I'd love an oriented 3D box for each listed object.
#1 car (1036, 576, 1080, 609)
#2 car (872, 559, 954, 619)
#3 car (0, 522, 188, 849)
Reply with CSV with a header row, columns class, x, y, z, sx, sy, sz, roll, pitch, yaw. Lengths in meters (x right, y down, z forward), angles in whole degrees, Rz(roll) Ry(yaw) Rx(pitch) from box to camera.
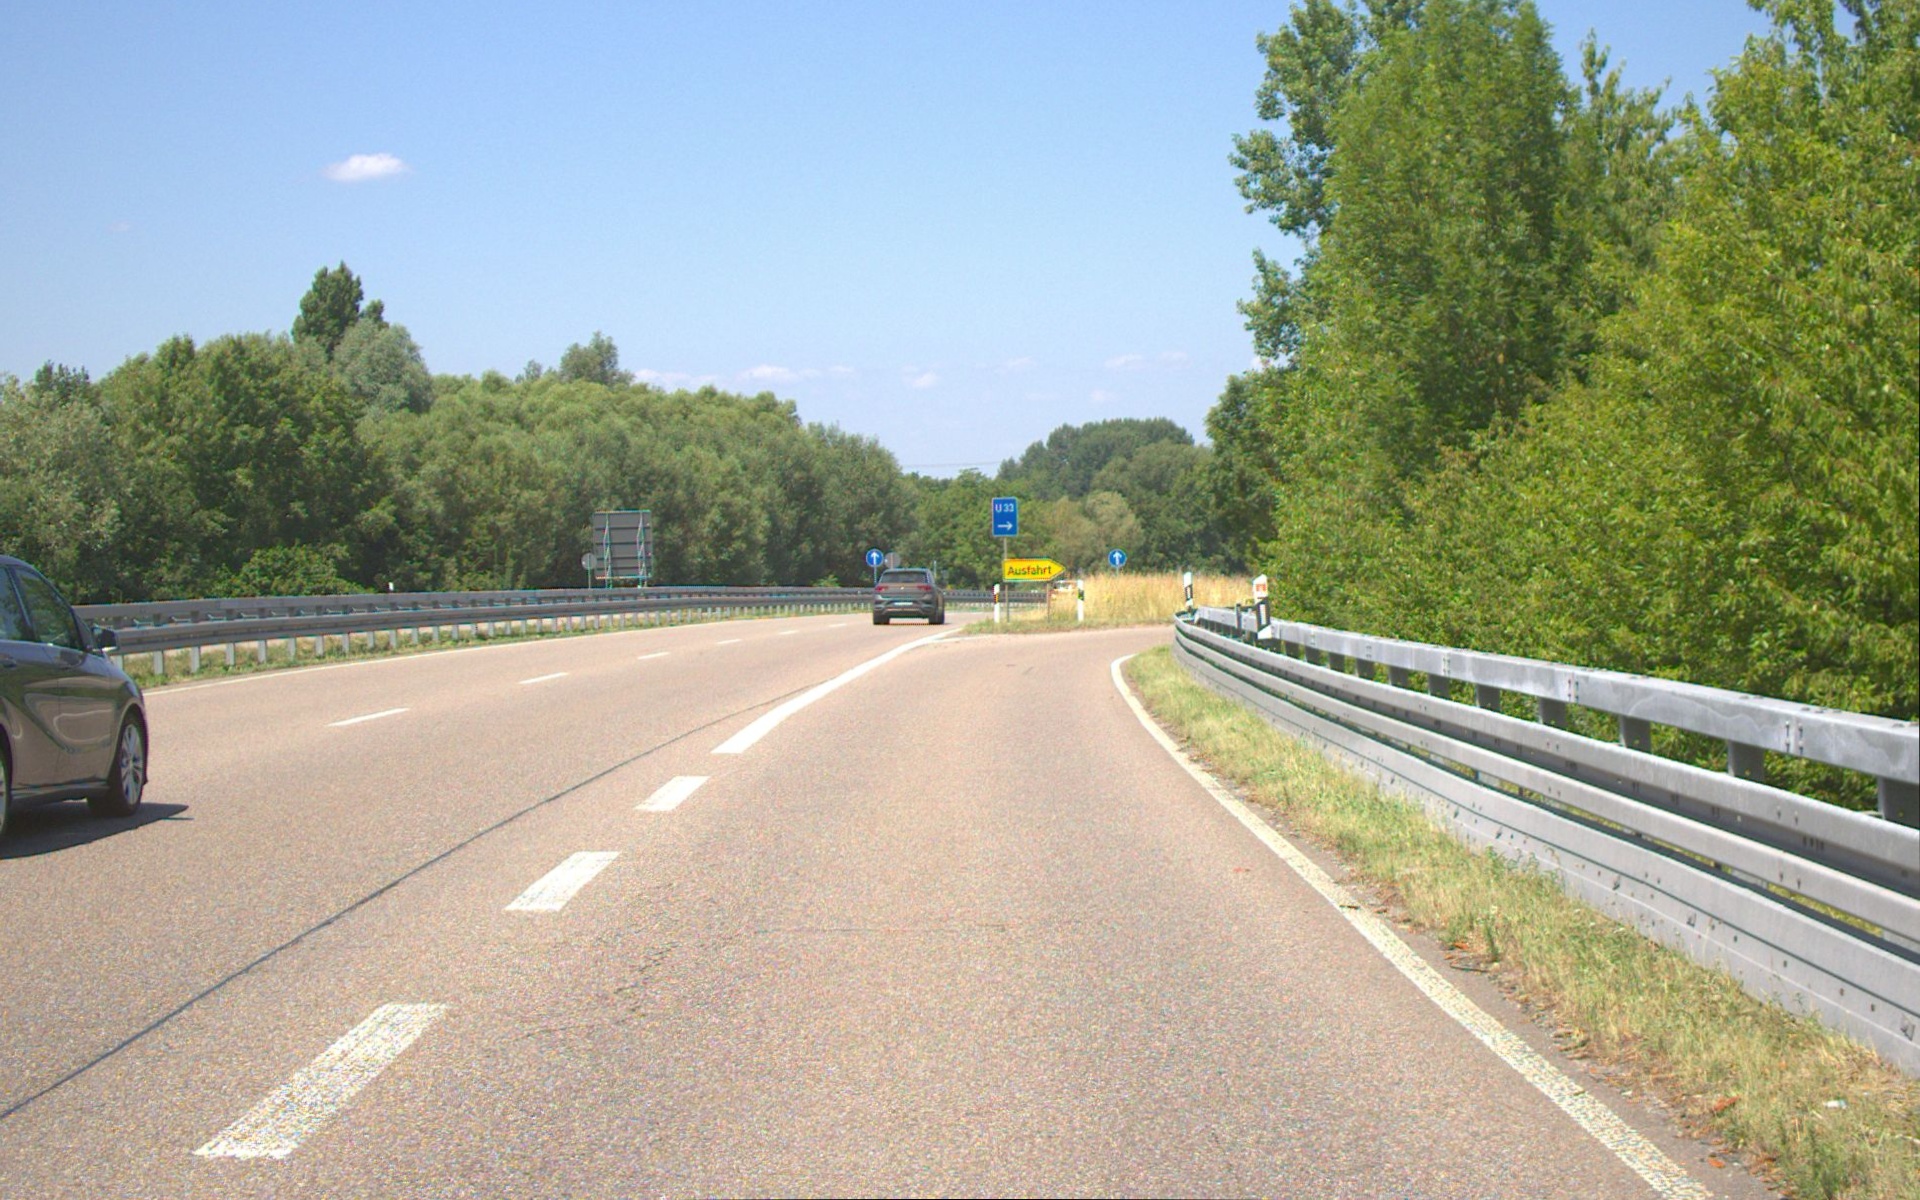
class,x,y,z,sx,sy,sz,roll,pitch,yaw
car,4.682,-0.353,163.610,1.841,1.459,3.999,1,2,6
car,-1.273,-0.320,95.521,1.841,1.524,4.469,1,2,5
car,-5.722,0.402,18.847,1.793,1.662,4.554,0,1,2
